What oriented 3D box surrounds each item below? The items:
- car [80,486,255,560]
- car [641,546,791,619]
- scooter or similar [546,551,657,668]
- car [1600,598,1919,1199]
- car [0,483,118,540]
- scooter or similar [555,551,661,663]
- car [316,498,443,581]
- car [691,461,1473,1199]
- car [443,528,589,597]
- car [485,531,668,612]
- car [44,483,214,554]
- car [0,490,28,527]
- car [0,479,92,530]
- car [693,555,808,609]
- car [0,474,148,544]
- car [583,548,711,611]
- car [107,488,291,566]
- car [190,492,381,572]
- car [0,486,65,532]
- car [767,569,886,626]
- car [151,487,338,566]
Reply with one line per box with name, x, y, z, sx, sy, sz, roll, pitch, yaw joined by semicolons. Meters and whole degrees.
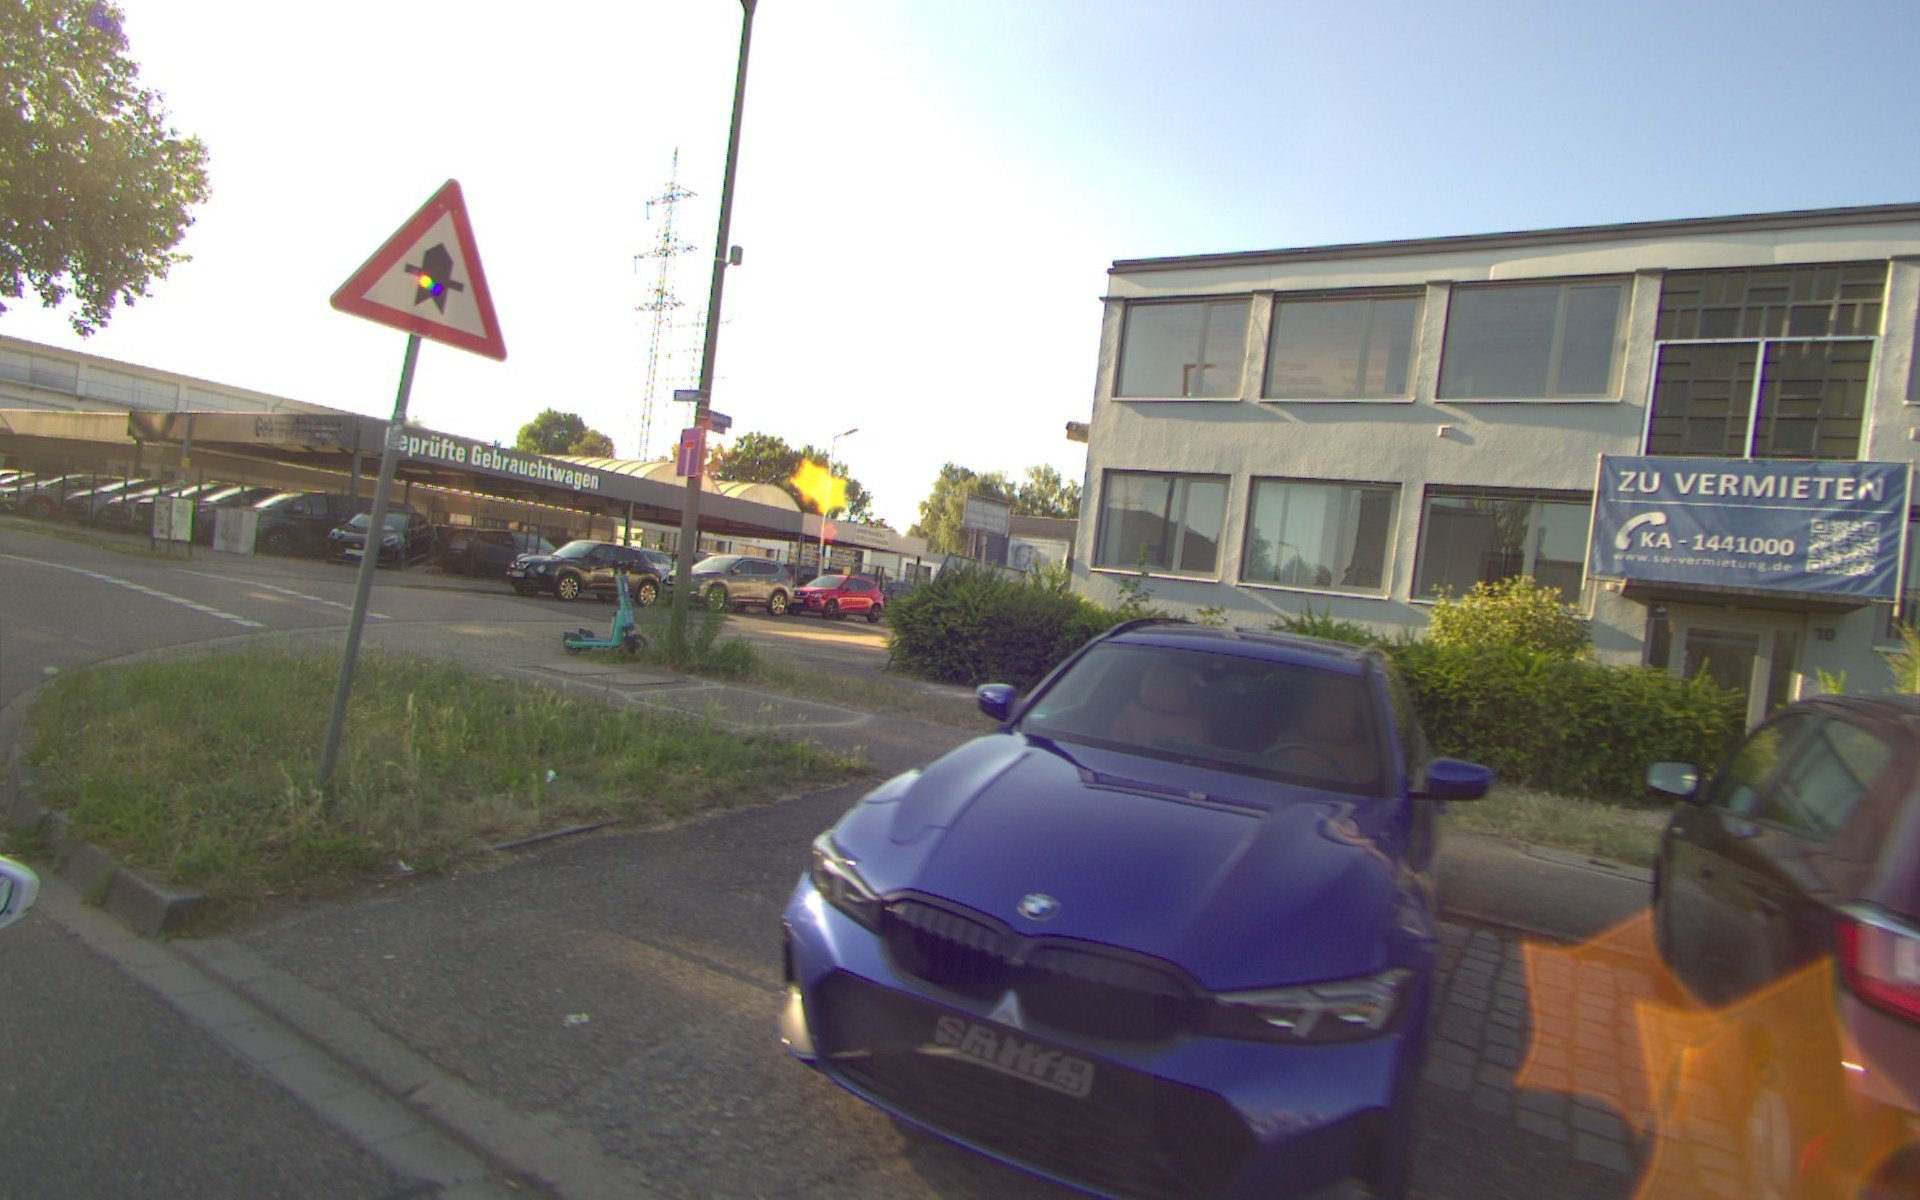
car;-26.152;-2.507;33.324;1.966;1.720;3.996;6;-2;30
car;-7.095;-0.470;29.659;1.966;1.724;4.116;4;-2;28
scooter or similar;-4.489;0.110;12.573;1.273;1.314;0.443;6;-1;29
car;3.330;0.947;3.242;1.712;1.674;3.989;6;2;29
car;-35.151;-3.425;38.493;1.966;1.564;3.996;6;-2;30
scooter or similar;-4.637;0.088;13.244;1.273;1.314;0.443;6;-1;29
car;-15.605;-1.546;27.279;1.909;1.791;3.991;5;-2;-15
car;1.134;0.610;4.344;1.723;1.695;4.528;6;2;28
car;-13.382;-1.128;30.298;3.932;1.621;1.997;6;-1;30
car;-9.728;-0.686;25.811;1.966;1.624;3.995;4;-2;28
car;-28.527;-2.771;34.663;1.966;1.720;3.996;6;-2;30
car;-43.933;-4.318;44.114;1.966;1.521;3.996;6;-2;30
car;-37.204;-3.874;39.661;1.966;1.564;3.996;6;-2;30
car;-8.156;-0.698;39.131;3.933;1.754;1.997;4;-1;30
car;-32.978;-3.331;37.228;1.966;1.853;3.996;6;-2;30
car;-10.829;-0.716;34.795;3.933;1.754;1.997;5;-1;30
car;-23.613;-2.242;31.367;1.966;1.720;3.996;6;-2;30
car;-19.249;-1.898;28.875;1.966;1.586;3.996;6;-2;30
car;-39.518;-3.898;41.044;1.966;1.564;3.996;6;-2;30
car;-4.501;-0.065;34.469;1.966;1.568;3.995;4;-2;28
car;-21.360;-2.164;30.193;1.966;1.653;3.996;6;-2;30
